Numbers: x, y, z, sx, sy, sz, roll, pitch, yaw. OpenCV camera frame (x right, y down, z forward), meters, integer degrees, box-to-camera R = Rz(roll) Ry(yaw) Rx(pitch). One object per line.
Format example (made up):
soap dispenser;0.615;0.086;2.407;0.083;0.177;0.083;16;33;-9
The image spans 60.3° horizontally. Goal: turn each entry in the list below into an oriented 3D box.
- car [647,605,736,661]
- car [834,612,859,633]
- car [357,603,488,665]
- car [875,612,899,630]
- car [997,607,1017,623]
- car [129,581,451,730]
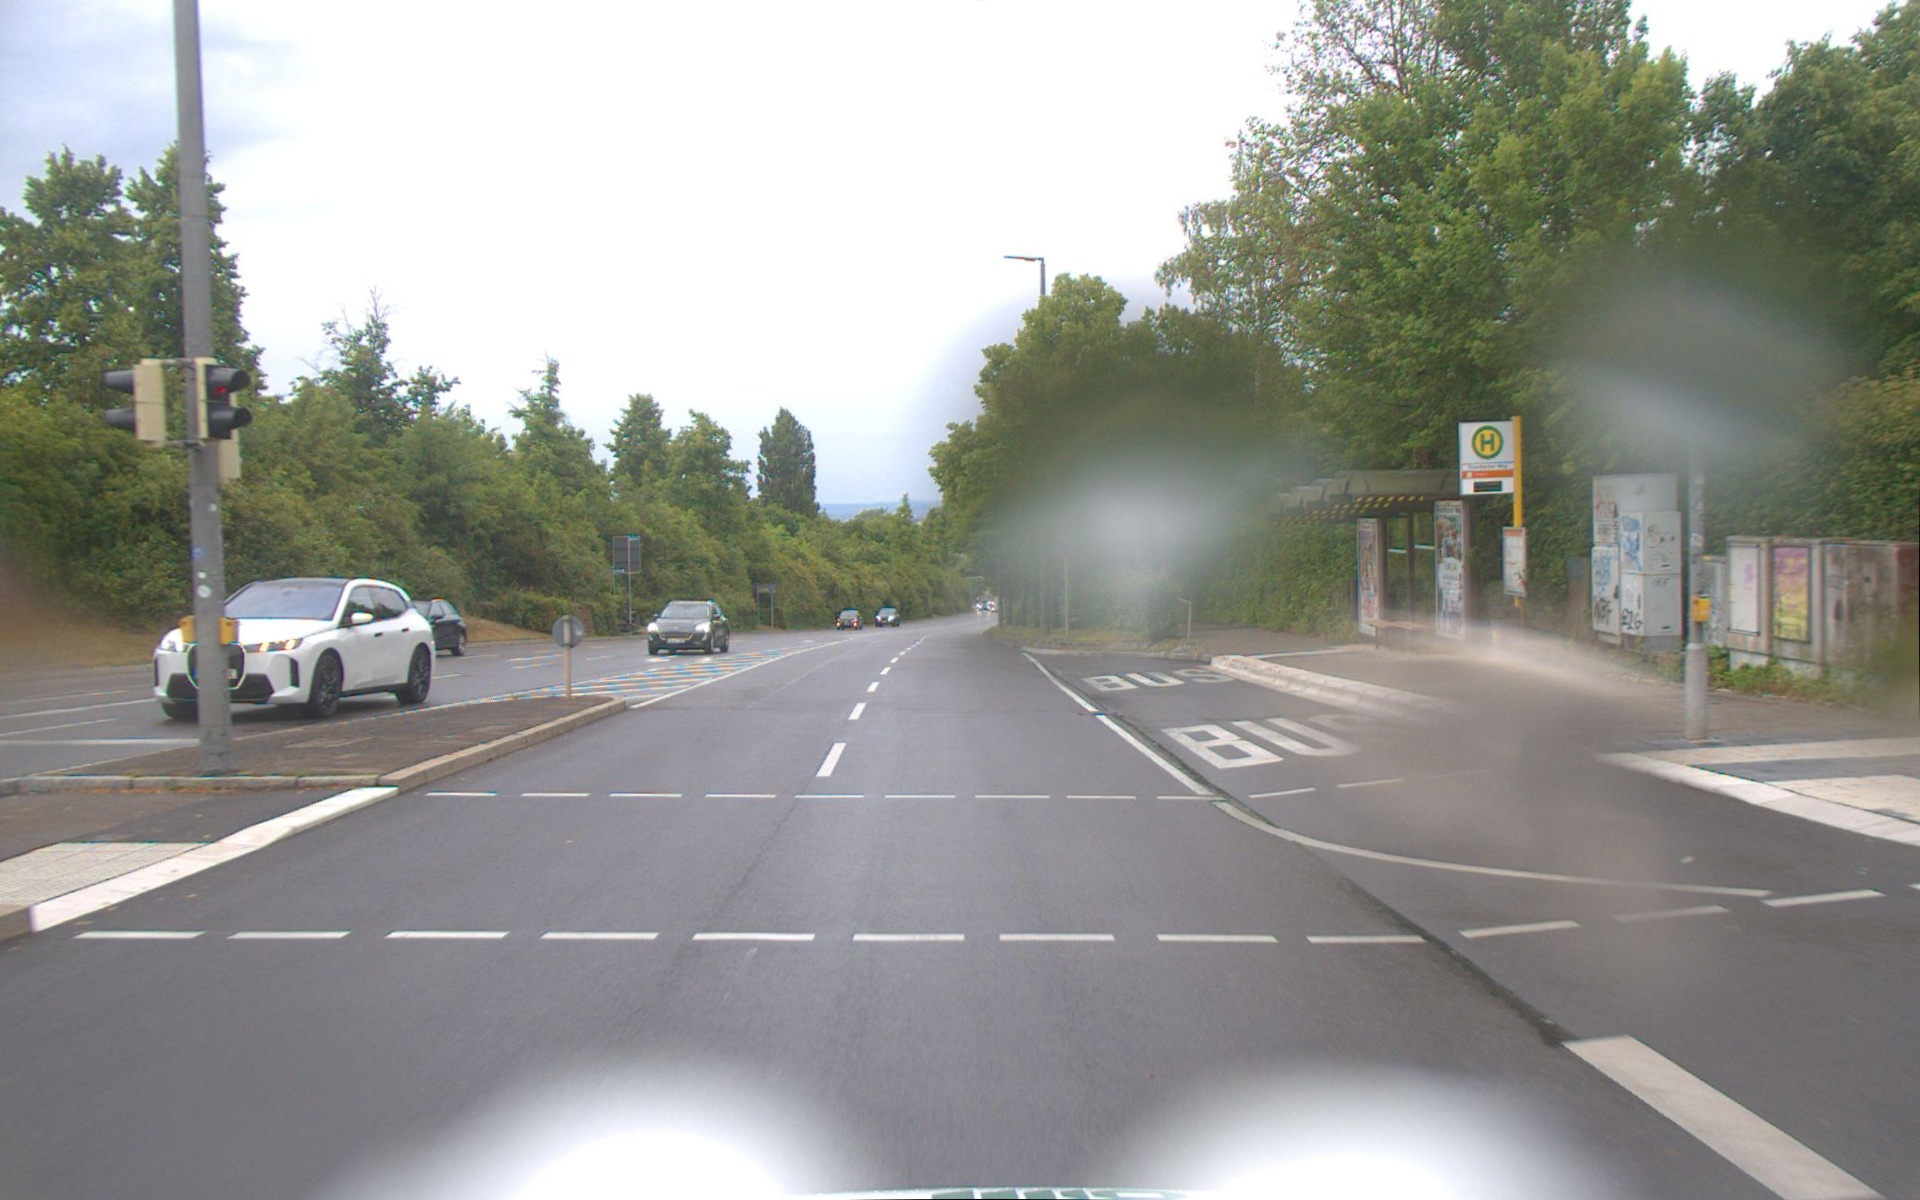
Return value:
car;-7.585;0.907;47.102;1.741;1.497;4.645;-1;0;0
car;-8.808;1.711;128.384;1.689;1.593;3.892;1;0;0
car;-13.748;0.828;42.574;1.782;1.463;4.455;-1;0;2
car;-6.605;1.905;150.165;1.825;1.617;3.893;1;-1;2
car;5.235;1.680;183.523;1.904;1.618;3.930;-1;1;5
car;-8.403;0.617;21.327;1.904;1.664;5.007;-1;0;3
